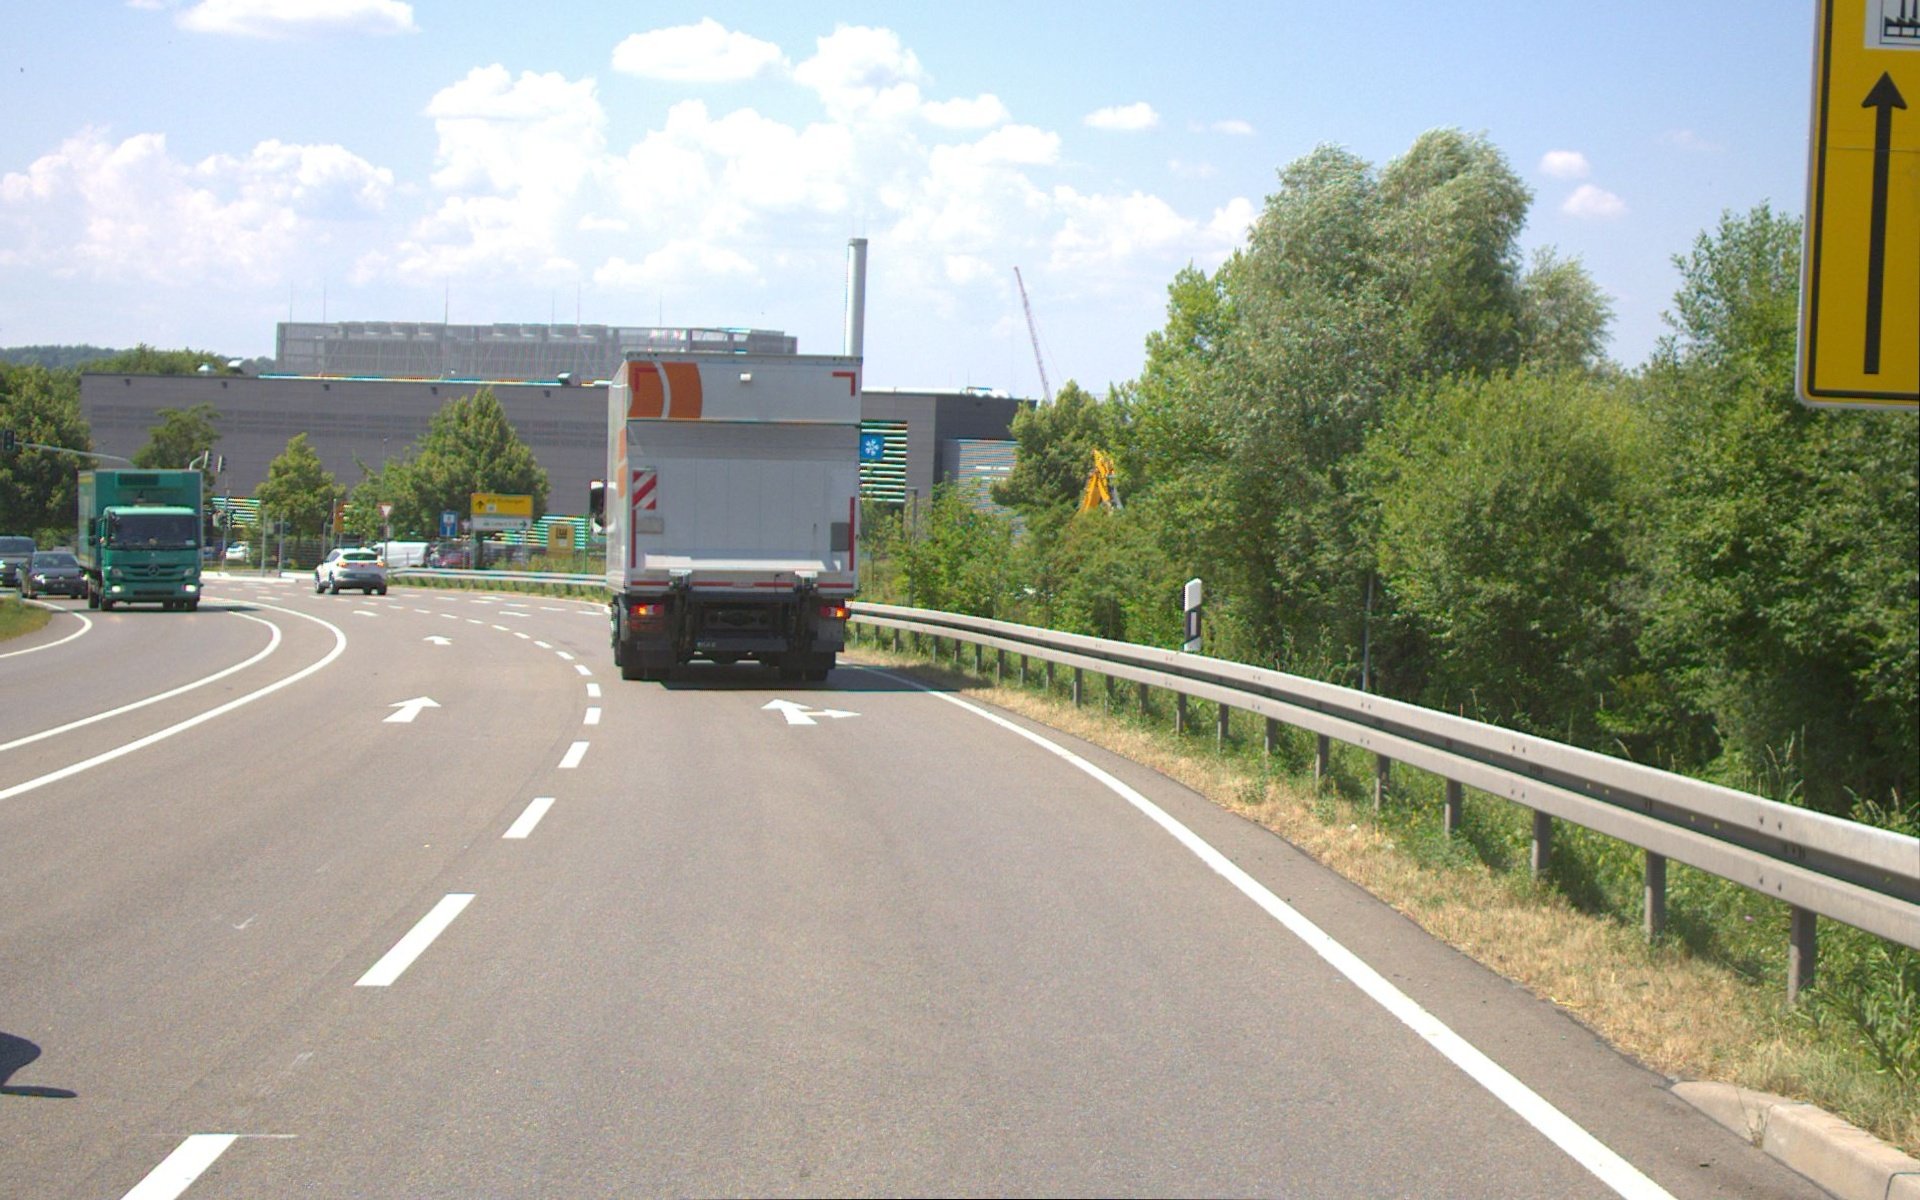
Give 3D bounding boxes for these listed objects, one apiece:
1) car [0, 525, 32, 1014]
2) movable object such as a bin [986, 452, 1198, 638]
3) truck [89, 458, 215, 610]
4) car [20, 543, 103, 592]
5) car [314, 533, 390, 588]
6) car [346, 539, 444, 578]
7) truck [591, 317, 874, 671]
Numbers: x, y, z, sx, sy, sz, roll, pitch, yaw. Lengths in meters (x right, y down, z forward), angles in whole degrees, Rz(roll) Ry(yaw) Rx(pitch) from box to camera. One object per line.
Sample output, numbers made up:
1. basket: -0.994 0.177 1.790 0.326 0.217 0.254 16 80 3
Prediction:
1. car: -3.683 0.557 8.612 1.653 1.488 4.208 2 2 -2
2. movable object such as a bin: 3.981 -1.815 107.055 3.423 5.242 9.233 3 3 -17
3. truck: -20.200 -1.645 85.931 2.868 3.562 9.434 1 1 -13
4. car: -27.119 -0.995 103.894 1.876 1.437 4.331 1 1 -7
5. car: -20.004 -1.325 113.059 1.943 1.658 4.001 4 0 -16
6. car: -29.415 -2.173 179.081 4.745 1.925 2.154 1 1 1
7. truck: -2.903 -1.241 41.183 2.803 3.698 9.110 1 1 -7
